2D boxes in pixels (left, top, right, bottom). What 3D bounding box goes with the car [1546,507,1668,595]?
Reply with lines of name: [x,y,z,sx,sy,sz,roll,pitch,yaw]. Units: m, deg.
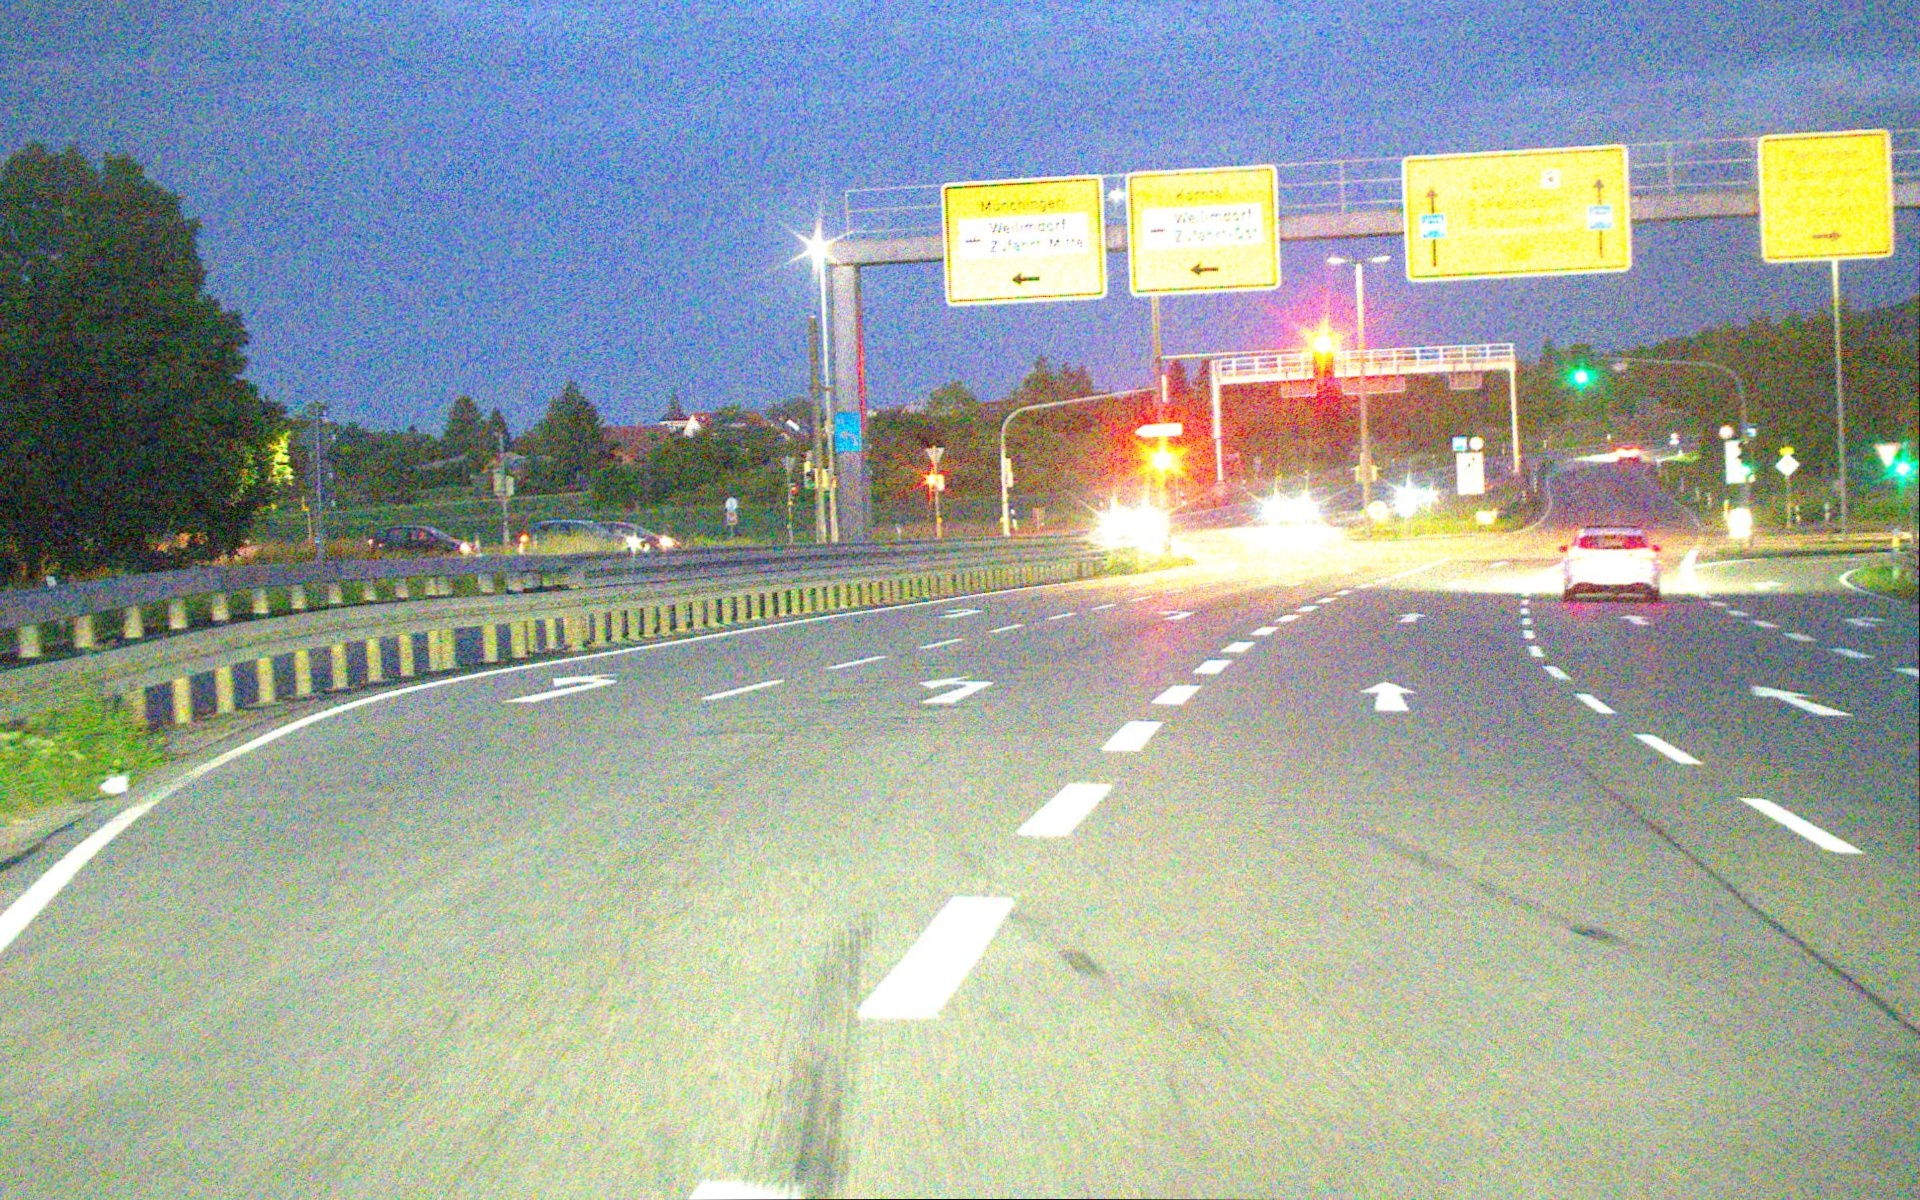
car: [12.400,-0.942,65.763,2.009,1.605,3.843,1,1,15]

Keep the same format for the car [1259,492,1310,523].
car: [16.029,-4.577,169.719,1.994,1.476,4.680,0,2,11]

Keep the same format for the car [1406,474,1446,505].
car: [26.845,-6.370,198.010,1.994,1.692,3.998,0,2,11]

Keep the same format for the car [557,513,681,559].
car: [-12.121,-2.291,122.305,4.042,1.532,1.729,-1,1,10]

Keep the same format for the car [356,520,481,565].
car: [-18.918,-2.026,120.165,3.988,1.468,1.729,-1,1,7]

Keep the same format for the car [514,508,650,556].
car: [-12.982,-2.335,118.166,4.315,1.532,1.729,-1,1,11]

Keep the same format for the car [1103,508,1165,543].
car: [7.450,-3.194,146.647,1.994,1.420,4.530,0,2,11]
